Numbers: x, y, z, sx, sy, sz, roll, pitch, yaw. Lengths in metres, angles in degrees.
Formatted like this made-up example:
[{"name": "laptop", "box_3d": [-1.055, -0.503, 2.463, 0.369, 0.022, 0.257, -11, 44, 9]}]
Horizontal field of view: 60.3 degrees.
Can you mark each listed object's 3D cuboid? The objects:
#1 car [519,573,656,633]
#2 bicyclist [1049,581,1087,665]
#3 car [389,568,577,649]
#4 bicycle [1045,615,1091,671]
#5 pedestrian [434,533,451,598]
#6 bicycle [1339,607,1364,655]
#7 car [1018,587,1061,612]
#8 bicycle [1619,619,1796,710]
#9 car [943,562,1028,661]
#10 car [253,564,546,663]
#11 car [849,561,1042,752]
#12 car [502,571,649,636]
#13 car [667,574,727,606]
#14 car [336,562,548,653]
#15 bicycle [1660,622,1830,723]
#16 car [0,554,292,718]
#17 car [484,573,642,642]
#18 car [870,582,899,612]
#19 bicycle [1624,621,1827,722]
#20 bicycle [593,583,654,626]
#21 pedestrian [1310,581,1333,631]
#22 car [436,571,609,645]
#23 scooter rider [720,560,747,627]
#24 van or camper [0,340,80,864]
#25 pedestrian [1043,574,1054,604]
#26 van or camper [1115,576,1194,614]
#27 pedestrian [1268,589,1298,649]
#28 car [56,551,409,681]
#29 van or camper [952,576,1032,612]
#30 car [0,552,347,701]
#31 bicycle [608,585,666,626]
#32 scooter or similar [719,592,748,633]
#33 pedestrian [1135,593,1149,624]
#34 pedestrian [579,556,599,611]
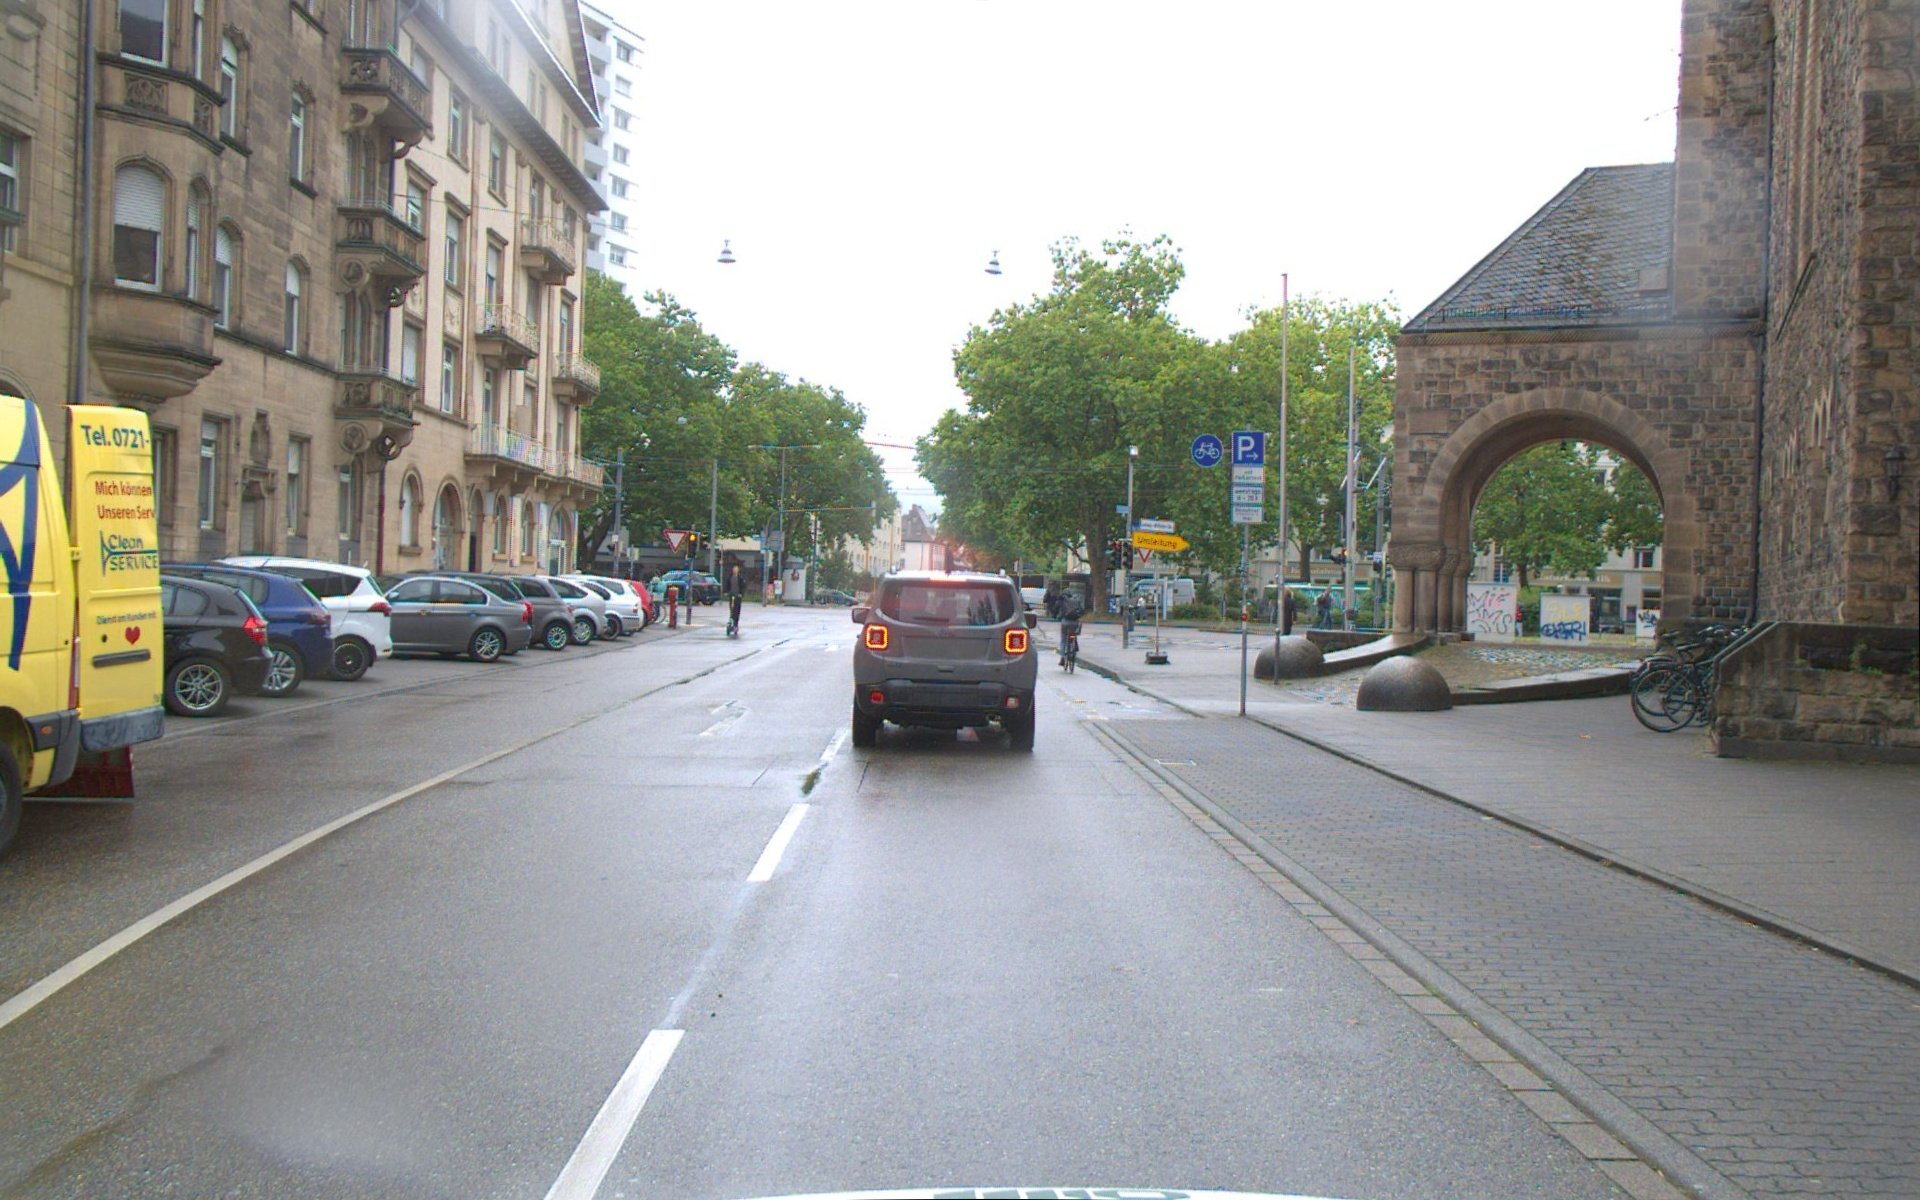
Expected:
[{"name": "car", "box_3d": [-10.451, 0.095, 46.485, 3.370, 1.585, 1.682, 2, 0, -39]}, {"name": "bicyclist", "box_3d": [2.152, 0.454, 33.059, 0.673, 1.646, 0.883, 1, 0, -1]}, {"name": "car", "box_3d": [-9.902, 0.192, 34.414, 3.370, 1.585, 1.629, 2, 0, -39]}, {"name": "bicycle", "box_3d": [2.145, 0.837, 33.071, 0.677, 1.039, 2.657, 1, 0, -1]}, {"name": "pedestrian", "box_3d": [-14.918, -0.980, 47.650, 0.359, 1.854, 0.347, 1, -1, -2]}, {"name": "bicycle", "box_3d": [10.162, 0.793, 42.964, 0.322, 1.174, 2.076, 1, 0, 5]}, {"name": "car", "box_3d": [6.612, -0.037, 137.871, 3.363, 2.049, 1.549, 1, 0, 13]}, {"name": "bicycle", "box_3d": [9.482, 0.808, 21.052, 1.942, 1.124, 0.692, 0, -1, 11]}, {"name": "car", "box_3d": [0.536, 0.227, 36.912, 1.734, 2.049, 4.000, 2, 0, 0]}, {"name": "car", "box_3d": [-9.577, 0.235, 28.507, 4.512, 1.572, 1.662, 1, 0, -44]}, {"name": "car", "box_3d": [-0.160, 0.502, 16.994, 1.739, 1.716, 3.847, 1, 0, -1]}, {"name": "car", "box_3d": [-10.099, 0.099, 43.562, 3.370, 1.585, 1.682, 2, 0, -39]}, {"name": "car", "box_3d": [-14.318, -0.545, 90.035, 2.919, 1.735, 1.315, 1, 0, 16]}, {"name": "car", "box_3d": [-9.836, 0.162, 31.506, 3.519, 1.626, 1.583, 2, 0, -39]}, {"name": "bicycle", "box_3d": [9.008, 0.825, 19.025, 1.672, 1.131, 0.562, 0, -1, 14]}, {"name": "car", "box_3d": [-8.949, 0.330, 16.565, 3.987, 1.538, 1.781, 1, 0, -30]}, {"name": "car", "box_3d": [-9.744, 0.199, 40.695, 3.370, 1.585, 1.682, 2, 0, -39]}, {"name": "car", "box_3d": [-4.732, -0.193, 103.064, 1.687, 1.769, 3.727, 2, 0, -4]}, {"name": "bicycle", "box_3d": [8.341, 0.771, 18.083, 1.942, 1.072, 0.513, 0, -1, 14]}, {"name": "bicycle", "box_3d": [-10.470, 0.153, 51.477, 1.774, 1.288, 0.498, 1, 0, -2]}, {"name": "pedestrian", "box_3d": [13.333, 0.220, 61.032, 0.769, 1.790, 0.946, 1, 0, 15]}, {"name": "car", "box_3d": [-9.872, 0.191, 37.417, 3.370, 1.585, 1.682, 2, 0, -39]}, {"name": "scooter rider", "box_3d": [-6.710, -0.203, 49.058, 0.696, 1.969, 0.503, 1, 0, -3]}, {"name": "van or camper", "box_3d": [-5.843, 0.018, 6.157, 2.152, 2.656, 5.939, 1, 0, -3]}, {"name": "pedestrian", "box_3d": [5.933, -0.735, 110.977, 0.637, 2.049, 0.483, 2, 0, 12]}, {"name": "van or camper", "box_3d": [13.249, -0.329, 113.017, 5.149, 2.355, 2.091, 2, 1, 4]}, {"name": "pedestrian", "box_3d": [9.235, 0.536, 47.291, 0.766, 1.674, 0.655, 1, 0, 6]}, {"name": "car", "box_3d": [-9.687, 0.210, 22.182, 4.007, 1.583, 1.772, 1, 0, -41]}, {"name": "van or camper", "box_3d": [2.781, -0.513, 144.107, 6.400, 2.963, 2.492, 2, 0, 27]}, {"name": "car", "box_3d": [-9.417, 0.298, 19.339, 3.987, 1.601, 1.781, 1, 0, -30]}, {"name": "bicycle", "box_3d": [-10.404, 0.173, 53.333, 1.728, 1.288, 0.608, 1, 0, -2]}, {"name": "scooter or similar", "box_3d": [-6.724, 0.361, 49.170, 0.686, 1.185, 1.384, 1, 0, -2]}, {"name": "pedestrian", "box_3d": [9.690, 0.447, 88.021, 0.600, 1.631, 0.494, 1, 0, 24]}, {"name": "pedestrian", "box_3d": [-14.187, -0.626, 63.280, 0.556, 2.049, 0.654, 2, 0, 0]}]
